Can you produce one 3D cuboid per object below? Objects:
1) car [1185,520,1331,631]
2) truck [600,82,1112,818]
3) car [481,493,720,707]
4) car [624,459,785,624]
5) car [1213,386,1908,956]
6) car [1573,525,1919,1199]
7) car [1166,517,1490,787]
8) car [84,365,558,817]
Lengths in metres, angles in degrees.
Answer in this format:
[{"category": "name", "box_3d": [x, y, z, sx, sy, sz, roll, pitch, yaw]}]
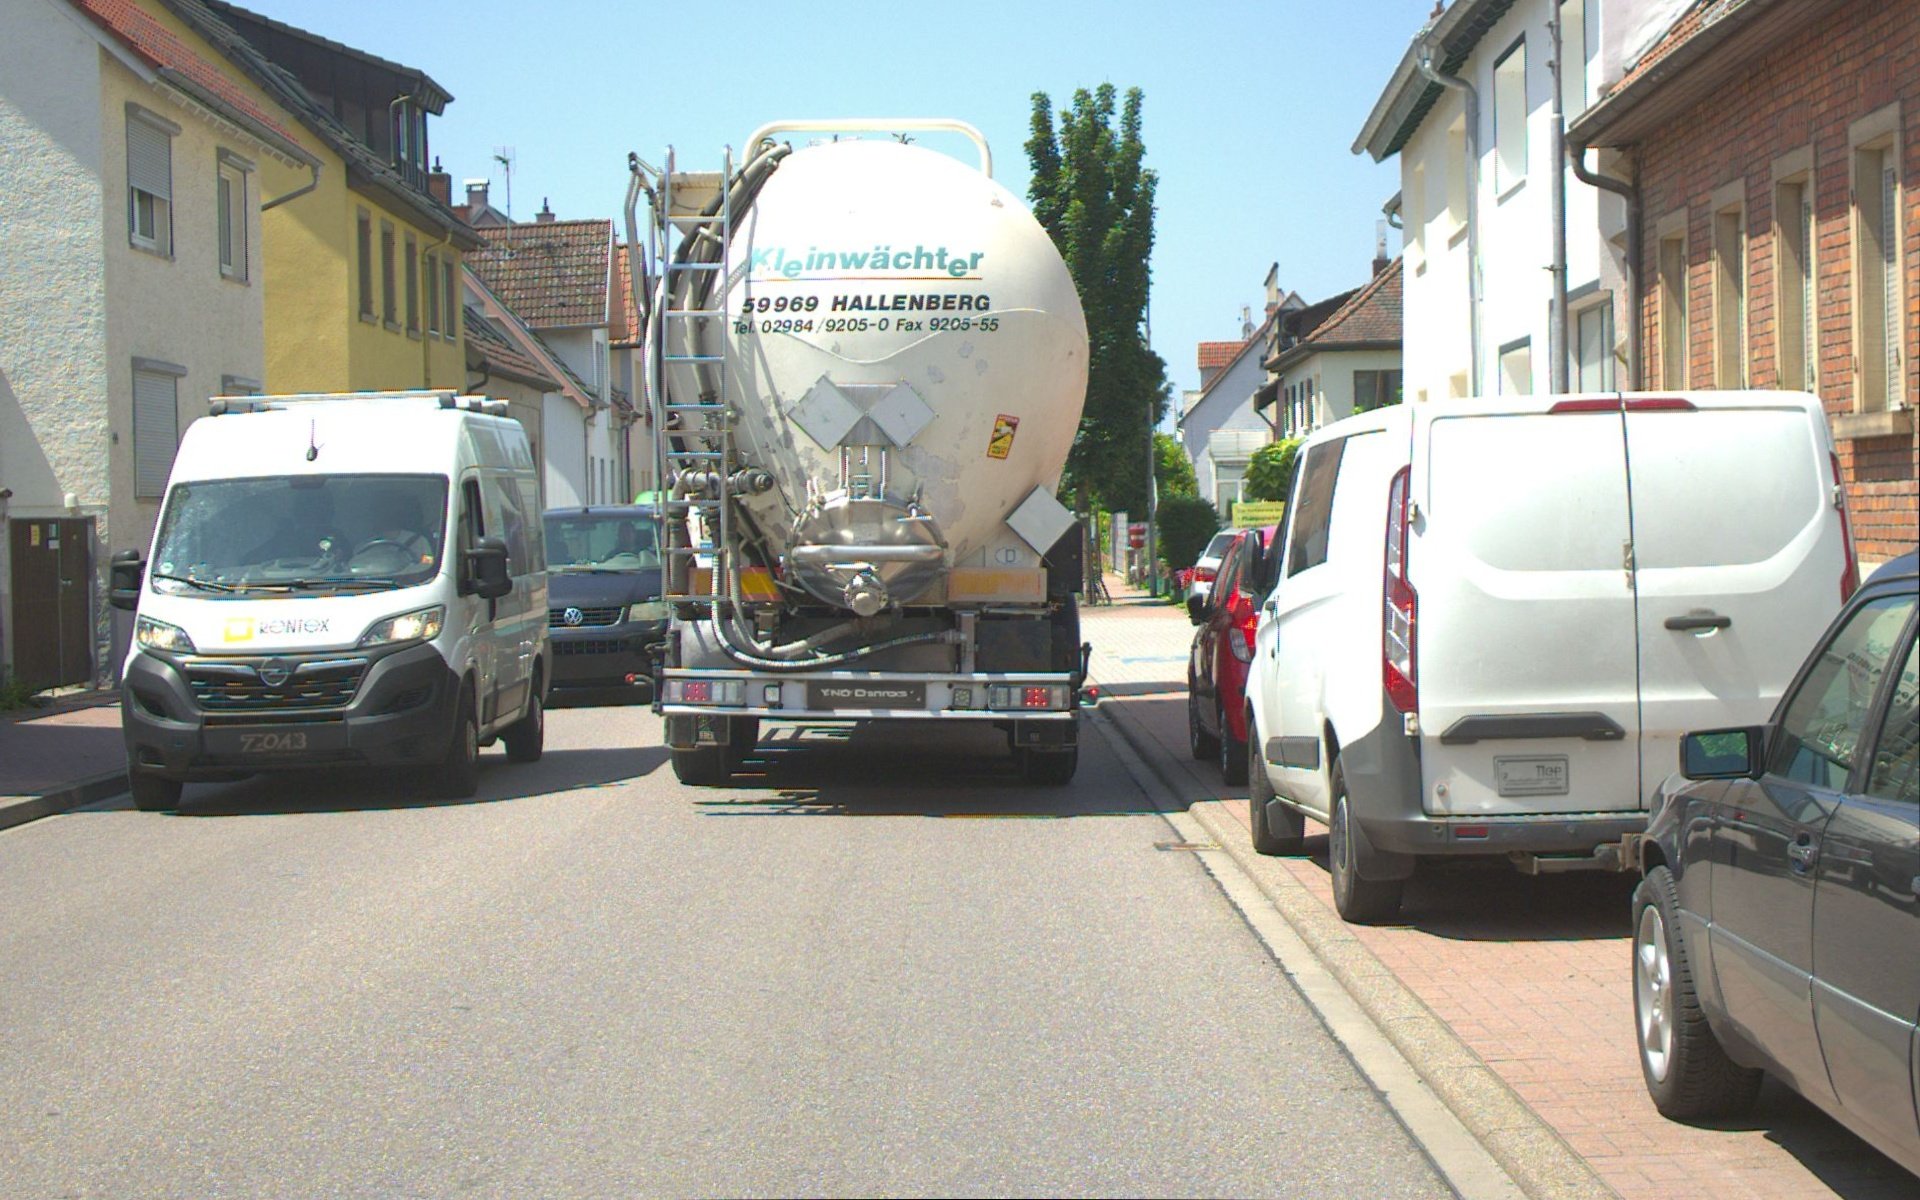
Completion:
[{"category": "car", "box_3d": [4.574, -0.411, 52.239, 1.815, 1.457, 4.883, 4, 2, 8]}, {"category": "truck", "box_3d": [-0.628, -0.861, 22.568, 2.732, 3.946, 8.142, 0, 1, -1]}, {"category": "car", "box_3d": [-3.546, -0.054, 34.784, 1.881, 1.937, 5.118, -2, 1, -1]}, {"category": "car", "box_3d": [-3.885, -0.929, 53.269, 2.051, 2.345, 6.082, -2, 1, -1]}, {"category": "car", "box_3d": [2.305, 0.197, 14.562, 1.946, 1.963, 4.785, -2, 1, -1]}, {"category": "car", "box_3d": [2.541, 0.587, 6.842, 1.770, 1.461, 4.578, -2, 1, 0]}, {"category": "car", "box_3d": [2.245, 0.257, 21.778, 1.610, 1.523, 3.677, -2, 1, 0]}, {"category": "car", "box_3d": [-4.006, -0.117, 22.595, 2.125, 2.533, 5.462, -2, 1, -1]}]
